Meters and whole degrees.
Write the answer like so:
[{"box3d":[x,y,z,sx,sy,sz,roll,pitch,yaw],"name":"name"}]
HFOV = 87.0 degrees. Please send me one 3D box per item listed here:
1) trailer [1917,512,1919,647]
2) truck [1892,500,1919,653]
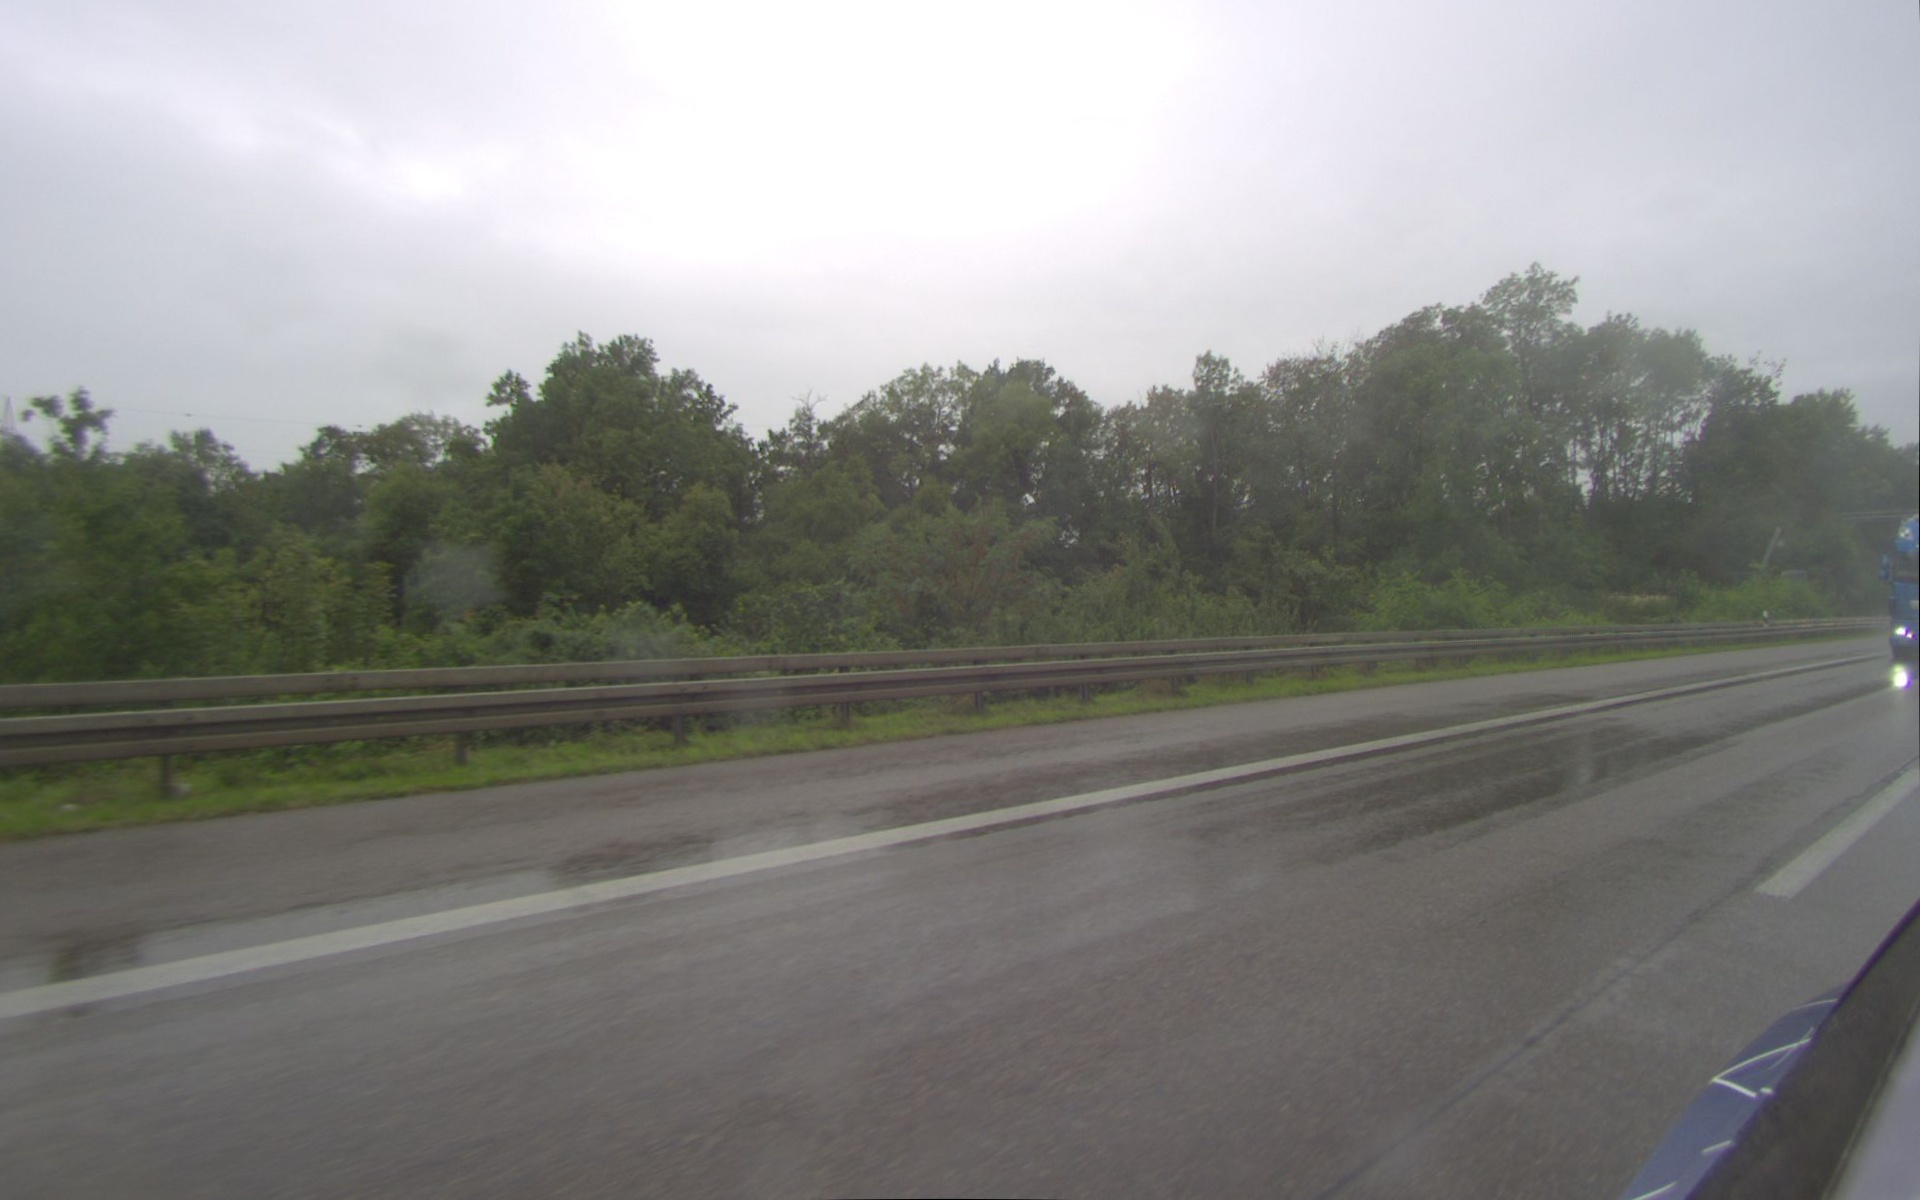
[{"box3d":[34.750,-0.661,33.519,13.877,4.014,2.750,0,0,-40],"name":"trailer"},{"box3d":[28.909,-0.658,28.707,6.366,4.130,2.755,0,0,-39],"name":"truck"}]
